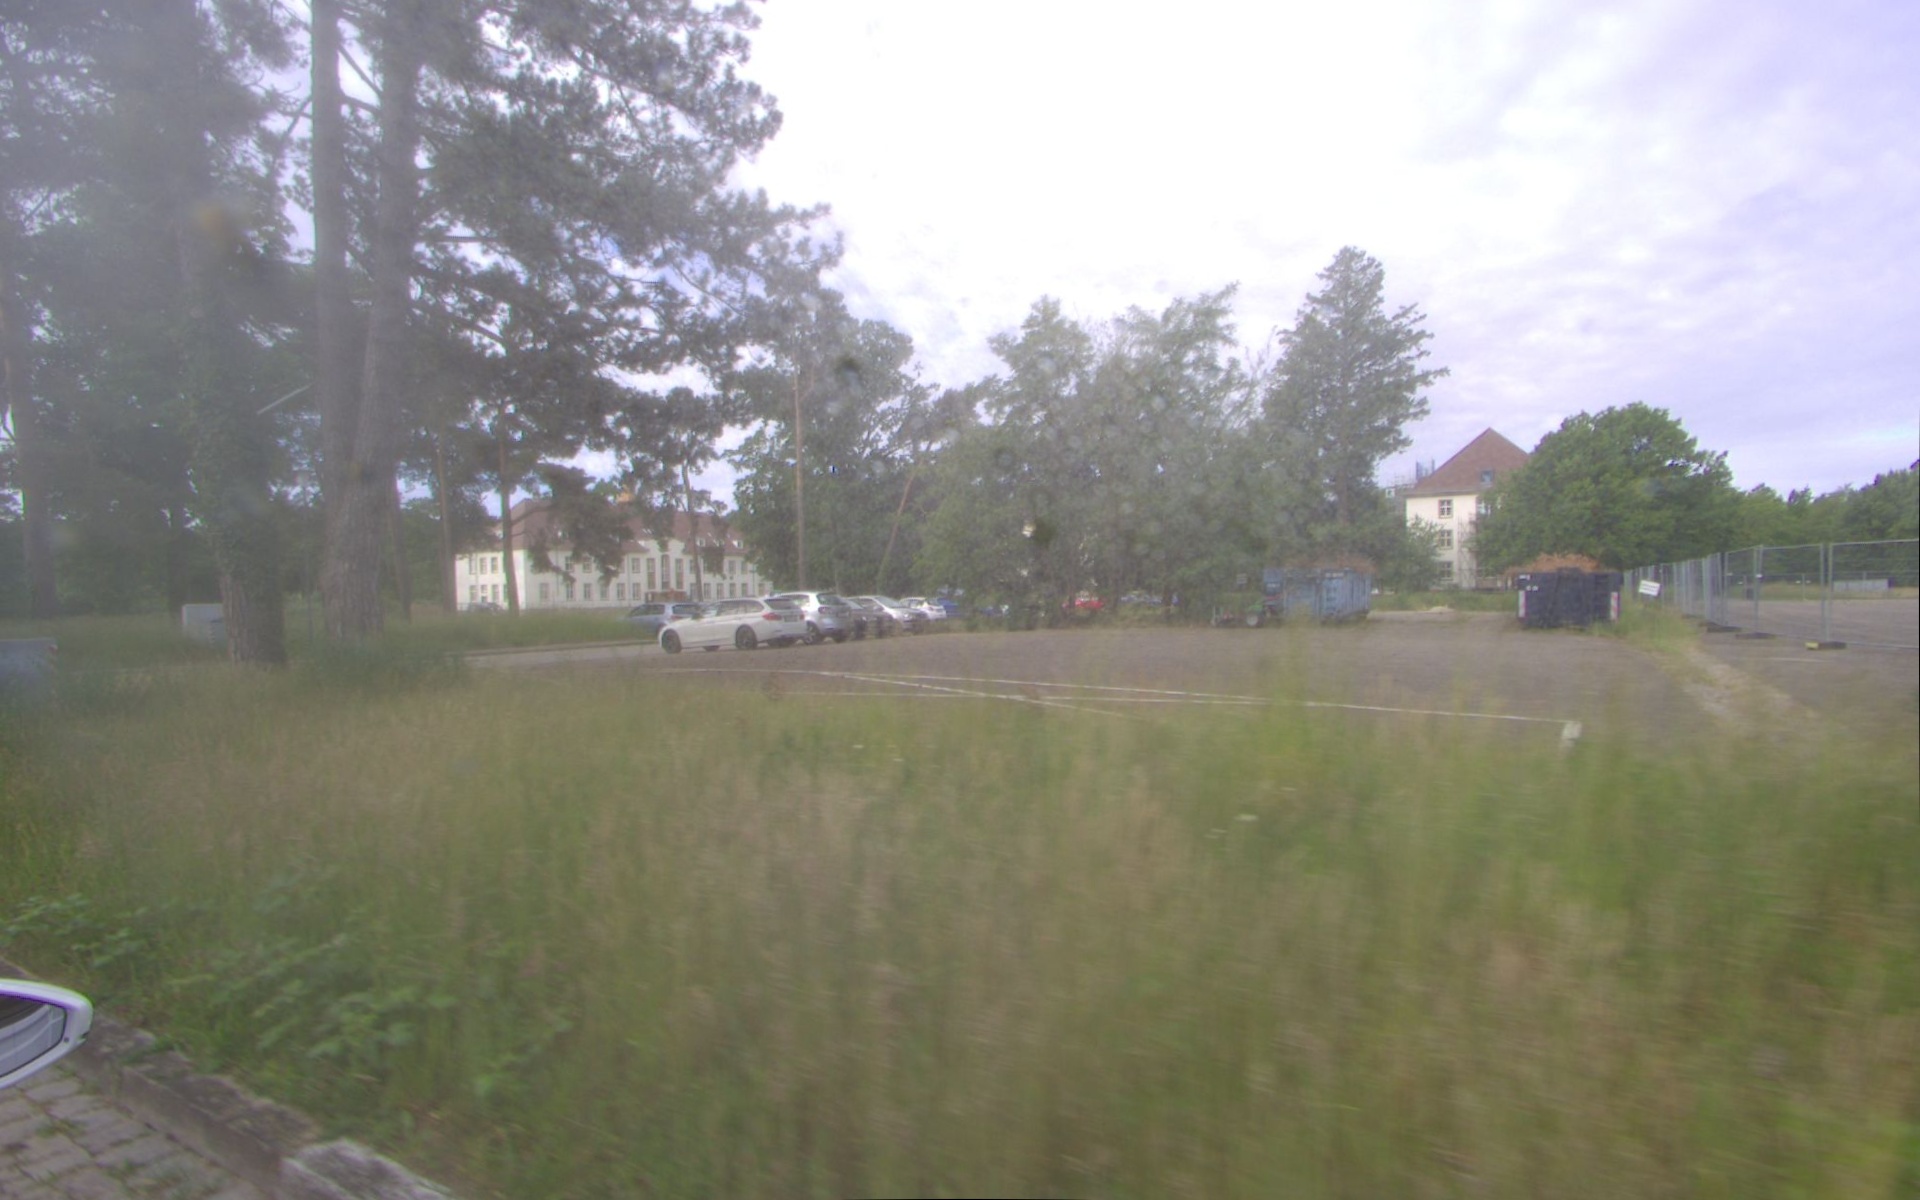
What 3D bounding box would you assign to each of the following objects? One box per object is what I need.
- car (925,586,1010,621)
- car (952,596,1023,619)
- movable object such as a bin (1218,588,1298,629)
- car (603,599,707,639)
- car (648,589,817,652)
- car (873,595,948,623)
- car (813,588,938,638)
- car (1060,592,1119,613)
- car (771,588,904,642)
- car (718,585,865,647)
[{"bbox_3d":[0.427,0.222,60.362,4.724,2.053,2.130,0,1,34],"label":"car"},{"bbox_3d":[1.712,0.479,62.454,4.184,1.409,1.729,0,1,34],"label":"car"},{"bbox_3d":[8.764,0.260,29.454,2.176,1.149,0.960,-1,-1,23],"label":"movable object such as a bin"},{"bbox_3d":[-12.290,0.749,40.234,4.184,1.529,1.729,0,1,33],"label":"car"},{"bbox_3d":[-6.423,0.605,28.149,4.542,1.505,1.846,-4,-2,29],"label":"car"},{"bbox_3d":[-2.784,0.515,55.954,4.190,1.522,1.610,0,1,38],"label":"car"},{"bbox_3d":[-3.018,0.478,35.461,4.186,1.504,1.696,-4,-1,33],"label":"car"},{"bbox_3d":[9.886,0.189,76.650,4.183,1.542,1.730,0,1,32],"label":"car"},{"bbox_3d":[-4.035,0.497,32.867,4.186,1.504,1.696,-4,-1,33],"label":"car"},{"bbox_3d":[-5.149,0.490,30.464,4.181,1.626,1.779,-4,-1,29],"label":"car"}]
